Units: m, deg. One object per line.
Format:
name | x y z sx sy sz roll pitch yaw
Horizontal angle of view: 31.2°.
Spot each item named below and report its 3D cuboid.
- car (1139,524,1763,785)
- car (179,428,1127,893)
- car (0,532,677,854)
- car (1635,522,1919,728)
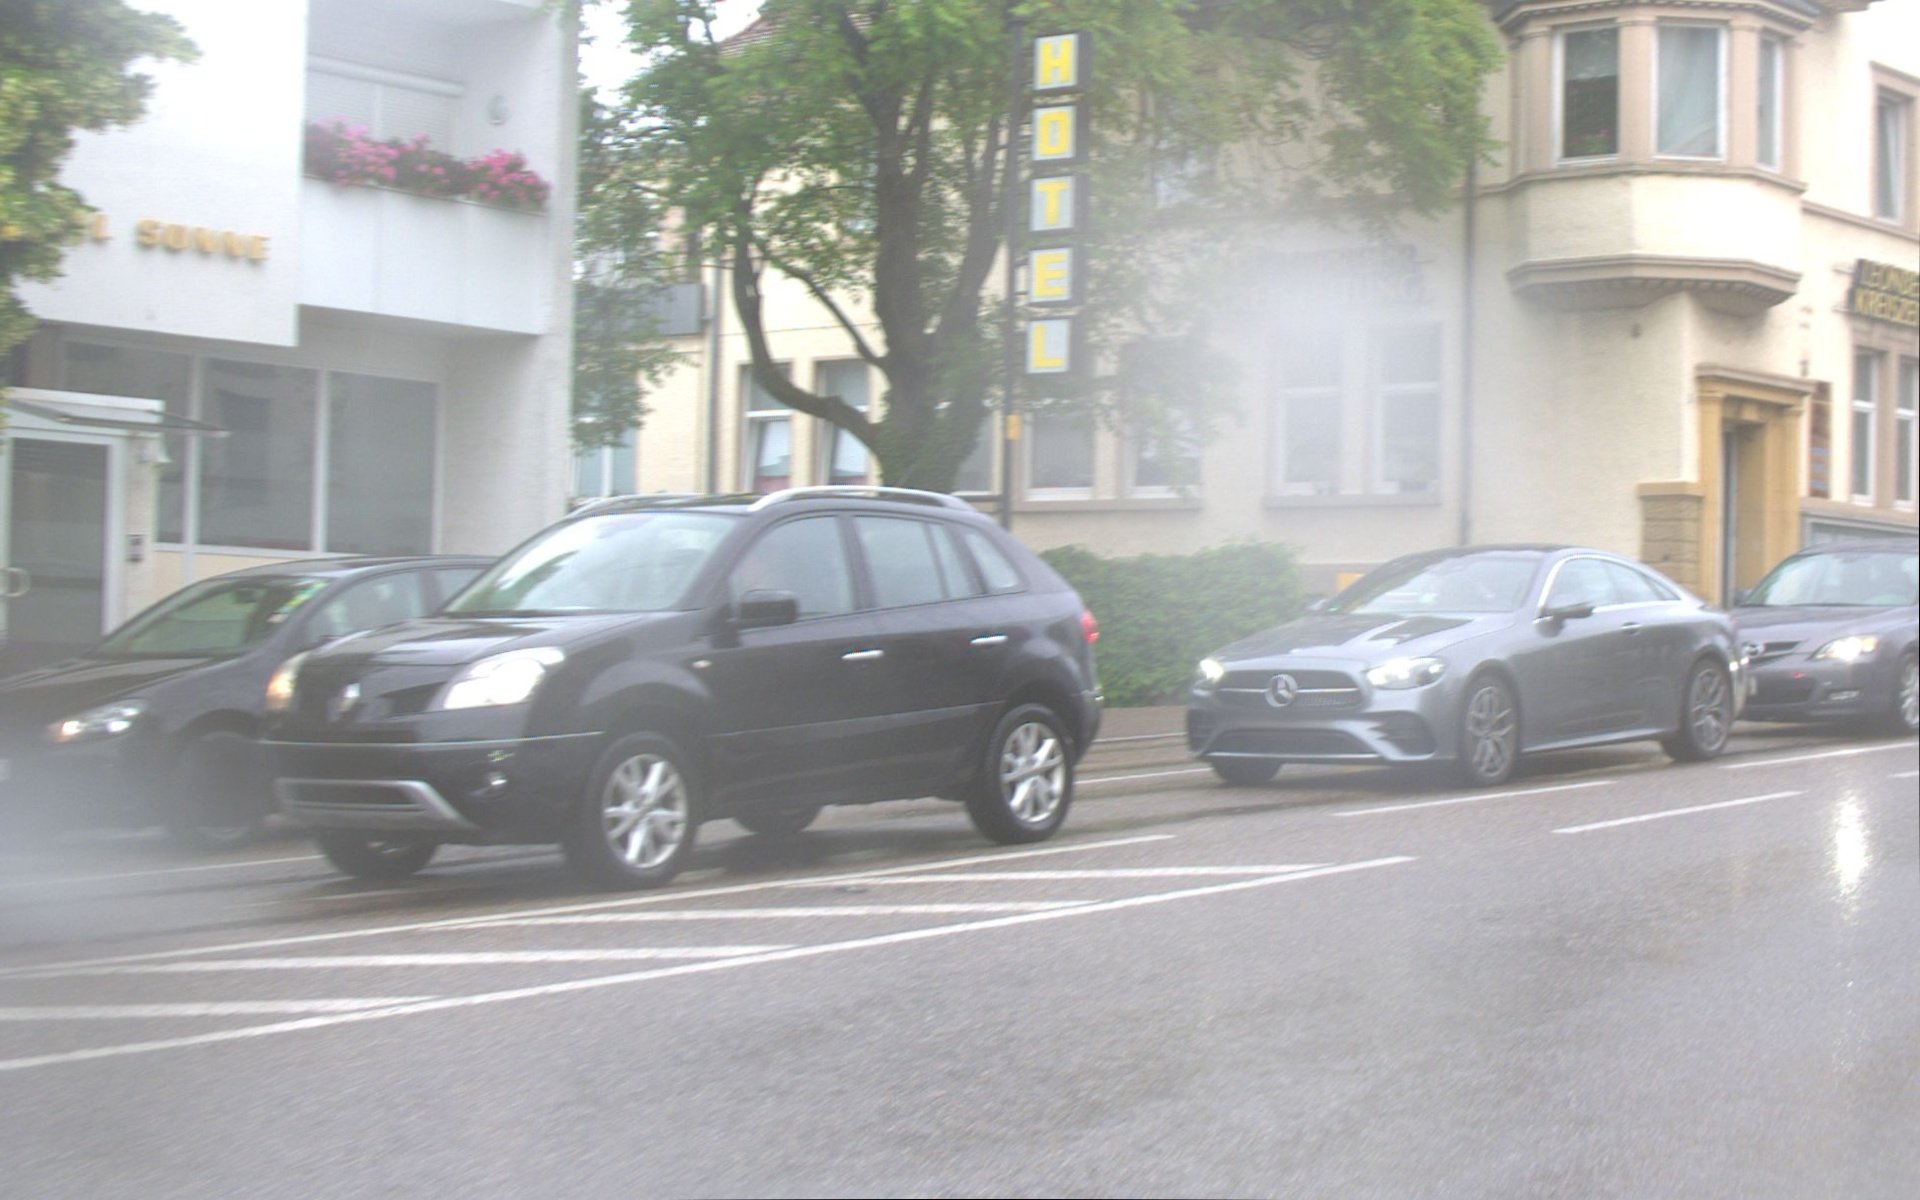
car | 3.168 0.276 21.401 1.777 1.447 4.530 -1 0 38
car | -1.235 0.213 15.607 1.777 1.809 4.306 -1 0 38
car | -3.609 0.419 18.379 1.777 1.513 4.177 -1 0 38
car | 6.958 0.157 26.306 1.777 1.447 4.177 -1 0 38
